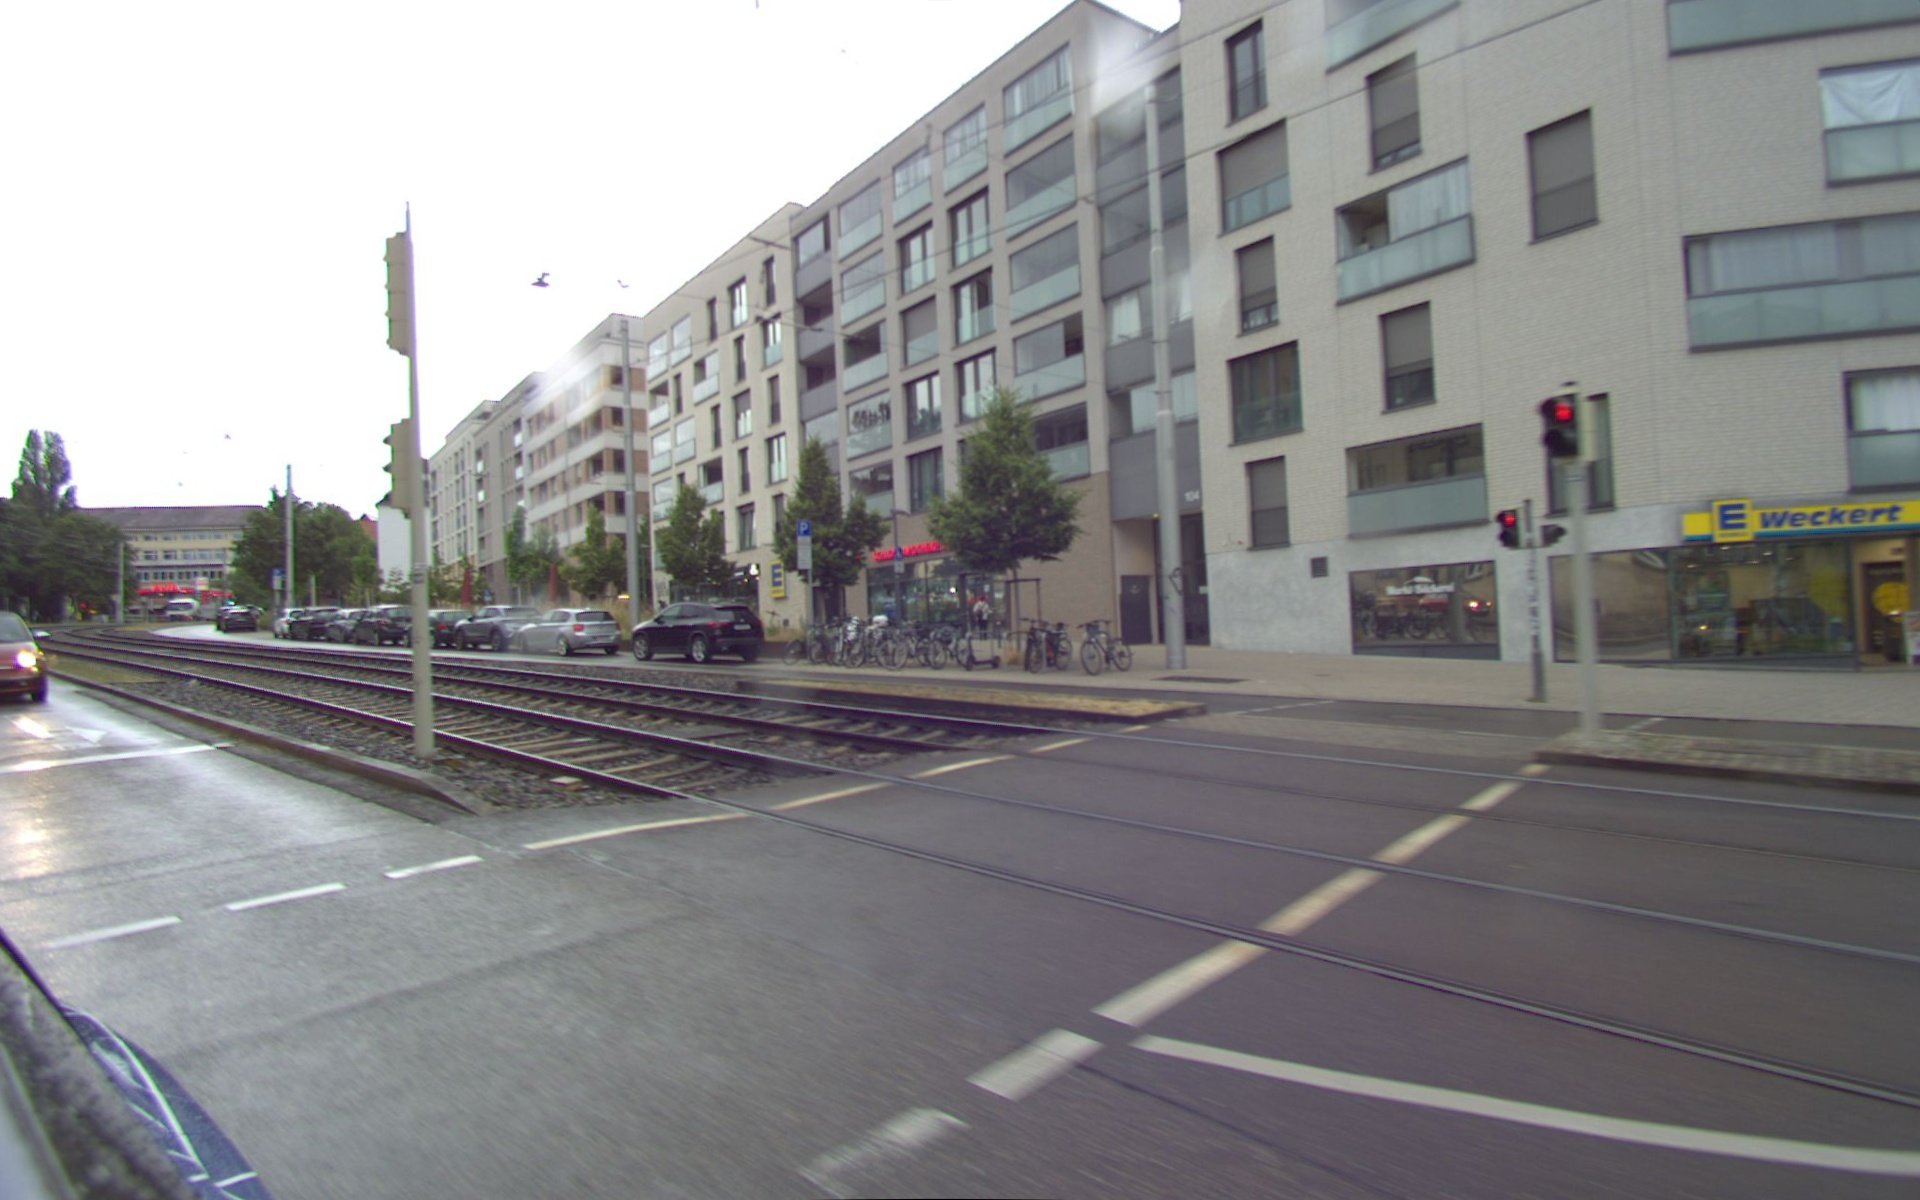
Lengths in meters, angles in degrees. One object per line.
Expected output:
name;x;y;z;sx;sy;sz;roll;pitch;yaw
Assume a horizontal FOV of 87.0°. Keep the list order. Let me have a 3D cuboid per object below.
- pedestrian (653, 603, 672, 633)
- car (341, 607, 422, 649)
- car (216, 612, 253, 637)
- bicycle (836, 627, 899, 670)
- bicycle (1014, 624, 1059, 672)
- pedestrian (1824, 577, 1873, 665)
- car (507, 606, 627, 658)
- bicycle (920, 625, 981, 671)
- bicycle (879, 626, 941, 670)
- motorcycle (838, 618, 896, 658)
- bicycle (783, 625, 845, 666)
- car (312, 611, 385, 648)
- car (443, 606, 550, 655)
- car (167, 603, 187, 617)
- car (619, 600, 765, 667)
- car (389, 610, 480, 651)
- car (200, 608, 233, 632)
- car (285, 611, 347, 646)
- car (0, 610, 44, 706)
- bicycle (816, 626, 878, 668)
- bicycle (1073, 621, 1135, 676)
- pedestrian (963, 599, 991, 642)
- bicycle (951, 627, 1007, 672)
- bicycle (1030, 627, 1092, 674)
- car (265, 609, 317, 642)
pedestrian;-15.127;0.914;51.462;0.647;1.460;0.805;-3;2;-36
car;-23.596;1.117;41.233;3.927;1.575;1.663;-1;1;41
car;-47.145;1.566;65.759;1.630;1.475;3.677;-4;3;-39
bicycle;-2.166;1.129;23.954;0.387;0.924;1.767;-1;0;37
bicycle;1.703;1.041;22.287;0.385;0.924;1.775;-1;1;24
pedestrian;17.969;0.411;20.484;0.583;1.723;0.699;-1;1;28
car;-12.348;0.959;31.691;4.328;1.475;1.663;-1;1;41
bicycle;-0.203;1.087;23.228;0.387;0.924;1.767;-1;1;37
bicycle;-1.148;1.109;23.692;0.387;0.924;1.767;-1;1;37
motorcycle;-2.566;1.034;28.083;0.542;1.050;1.742;1;1;38
bicycle;-3.661;1.133;25.429;0.387;0.924;1.767;-1;1;37
car;-27.243;1.273;45.034;3.927;1.516;1.663;-1;1;41
car;-16.091;1.033;35.064;4.043;1.541;1.665;-1;1;37
car;-99.142;1.257;128.198;1.641;1.618;3.819;-3;2;-33
car;-7.283;0.859;27.270;4.328;1.616;1.663;-1;1;41
car;-19.818;1.120;38.113;4.031;1.391;1.663;-1;1;41
car;-52.904;1.399;72.036;1.630;1.475;3.677;-4;3;-39
car;-30.715;1.338;48.239;1.660;1.516;4.409;-2;1;-43
car;-16.668;0.953;16.885;3.668;1.475;1.573;0;3;41
bicycle;-2.766;1.146;24.957;0.387;0.924;1.767;-1;0;37
bicycle;2.956;0.968;20.680;0.440;0.987;1.767;-1;2;37
pedestrian;0.597;0.713;35.446;0.532;1.460;0.805;-3;2;-36
bicycle;0.446;1.099;22.835;0.386;0.924;1.769;-1;0;33
bicycle;2.188;1.058;21.744;0.387;0.883;1.766;-1;1;40
car;-34.285;1.279;51.820;1.626;1.516;3.785;-2;1;-43
